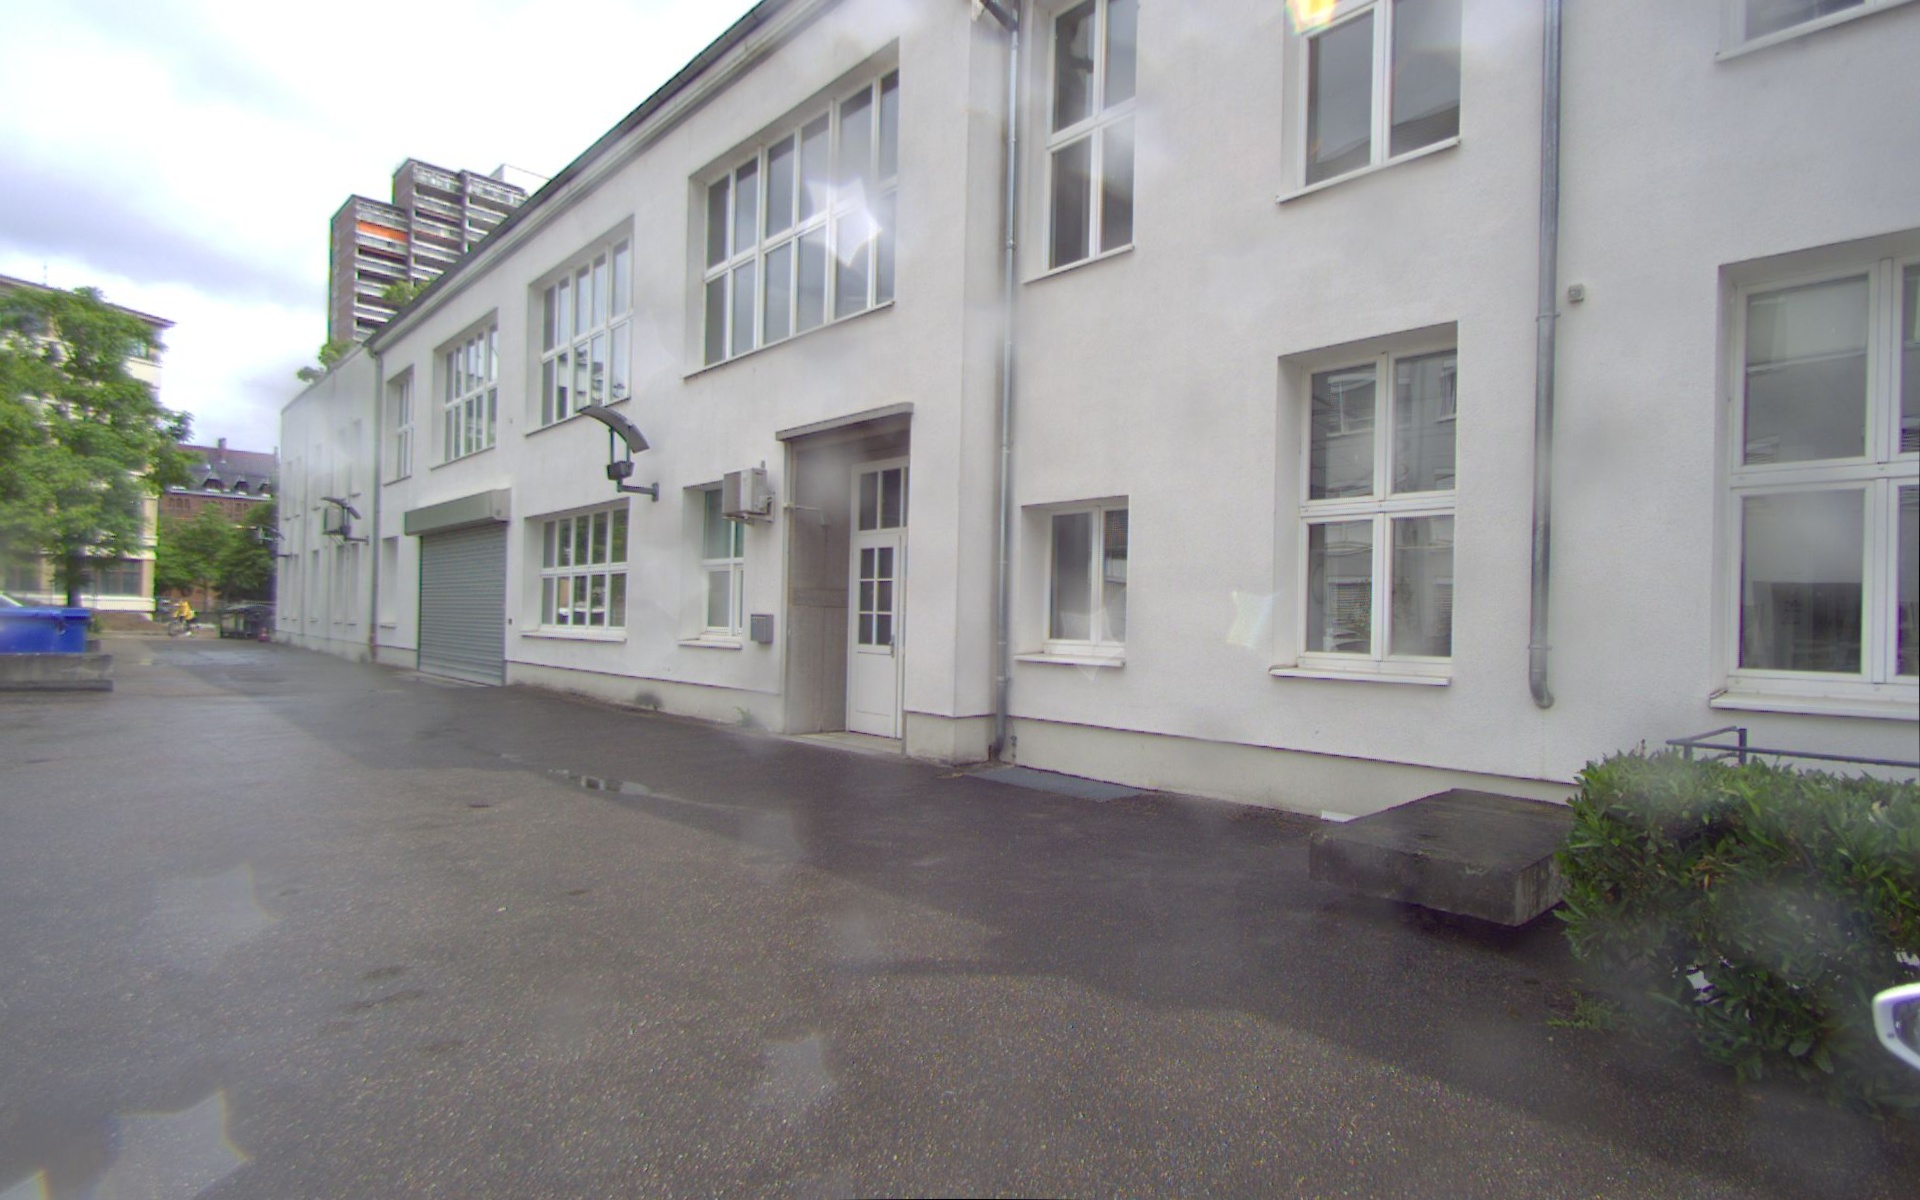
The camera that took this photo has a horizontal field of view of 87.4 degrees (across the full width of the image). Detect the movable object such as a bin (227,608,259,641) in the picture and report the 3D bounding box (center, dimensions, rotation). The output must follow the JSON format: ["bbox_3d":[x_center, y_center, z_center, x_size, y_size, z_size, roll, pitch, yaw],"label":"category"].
[{"bbox_3d":[-30.674,1.039,42.985,1.037,1.374,1.194,2,0,-39],"label":"movable object such as a bin"}]

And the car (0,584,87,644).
[{"bbox_3d":[-28.852,0.396,29.829,4.296,1.750,1.704,2,0,-38],"label":"car"}]

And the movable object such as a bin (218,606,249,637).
[{"bbox_3d":[-33.380,0.996,46.136,1.058,1.374,1.250,2,0,-39],"label":"movable object such as a bin"}]

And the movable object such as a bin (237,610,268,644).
[{"bbox_3d":[-29.356,1.098,41.692,0.970,1.374,0.909,2,0,-39],"label":"movable object such as a bin"}]

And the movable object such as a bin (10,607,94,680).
[{"bbox_3d":[-17.672,0.829,19.582,1.122,1.346,1.194,2,0,-40],"label":"movable object such as a bin"}]

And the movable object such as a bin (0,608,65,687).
[{"bbox_3d":[-16.805,0.828,17.993,1.086,1.343,1.194,2,0,-40],"label":"movable object such as a bin"}]

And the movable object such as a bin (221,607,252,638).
[{"bbox_3d":[-32.491,1.010,45.111,1.058,1.374,1.250,2,0,-39],"label":"movable object such as a bin"}]

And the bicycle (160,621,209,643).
[{"bbox_3d":[-36.424,1.497,47.209,0.657,0.994,1.879,1,0,7],"label":"bicycle"}]

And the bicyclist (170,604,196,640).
[{"bbox_3d":[-36.421,1.042,47.110,0.654,1.672,0.651,1,0,7],"label":"bicyclist"}]
